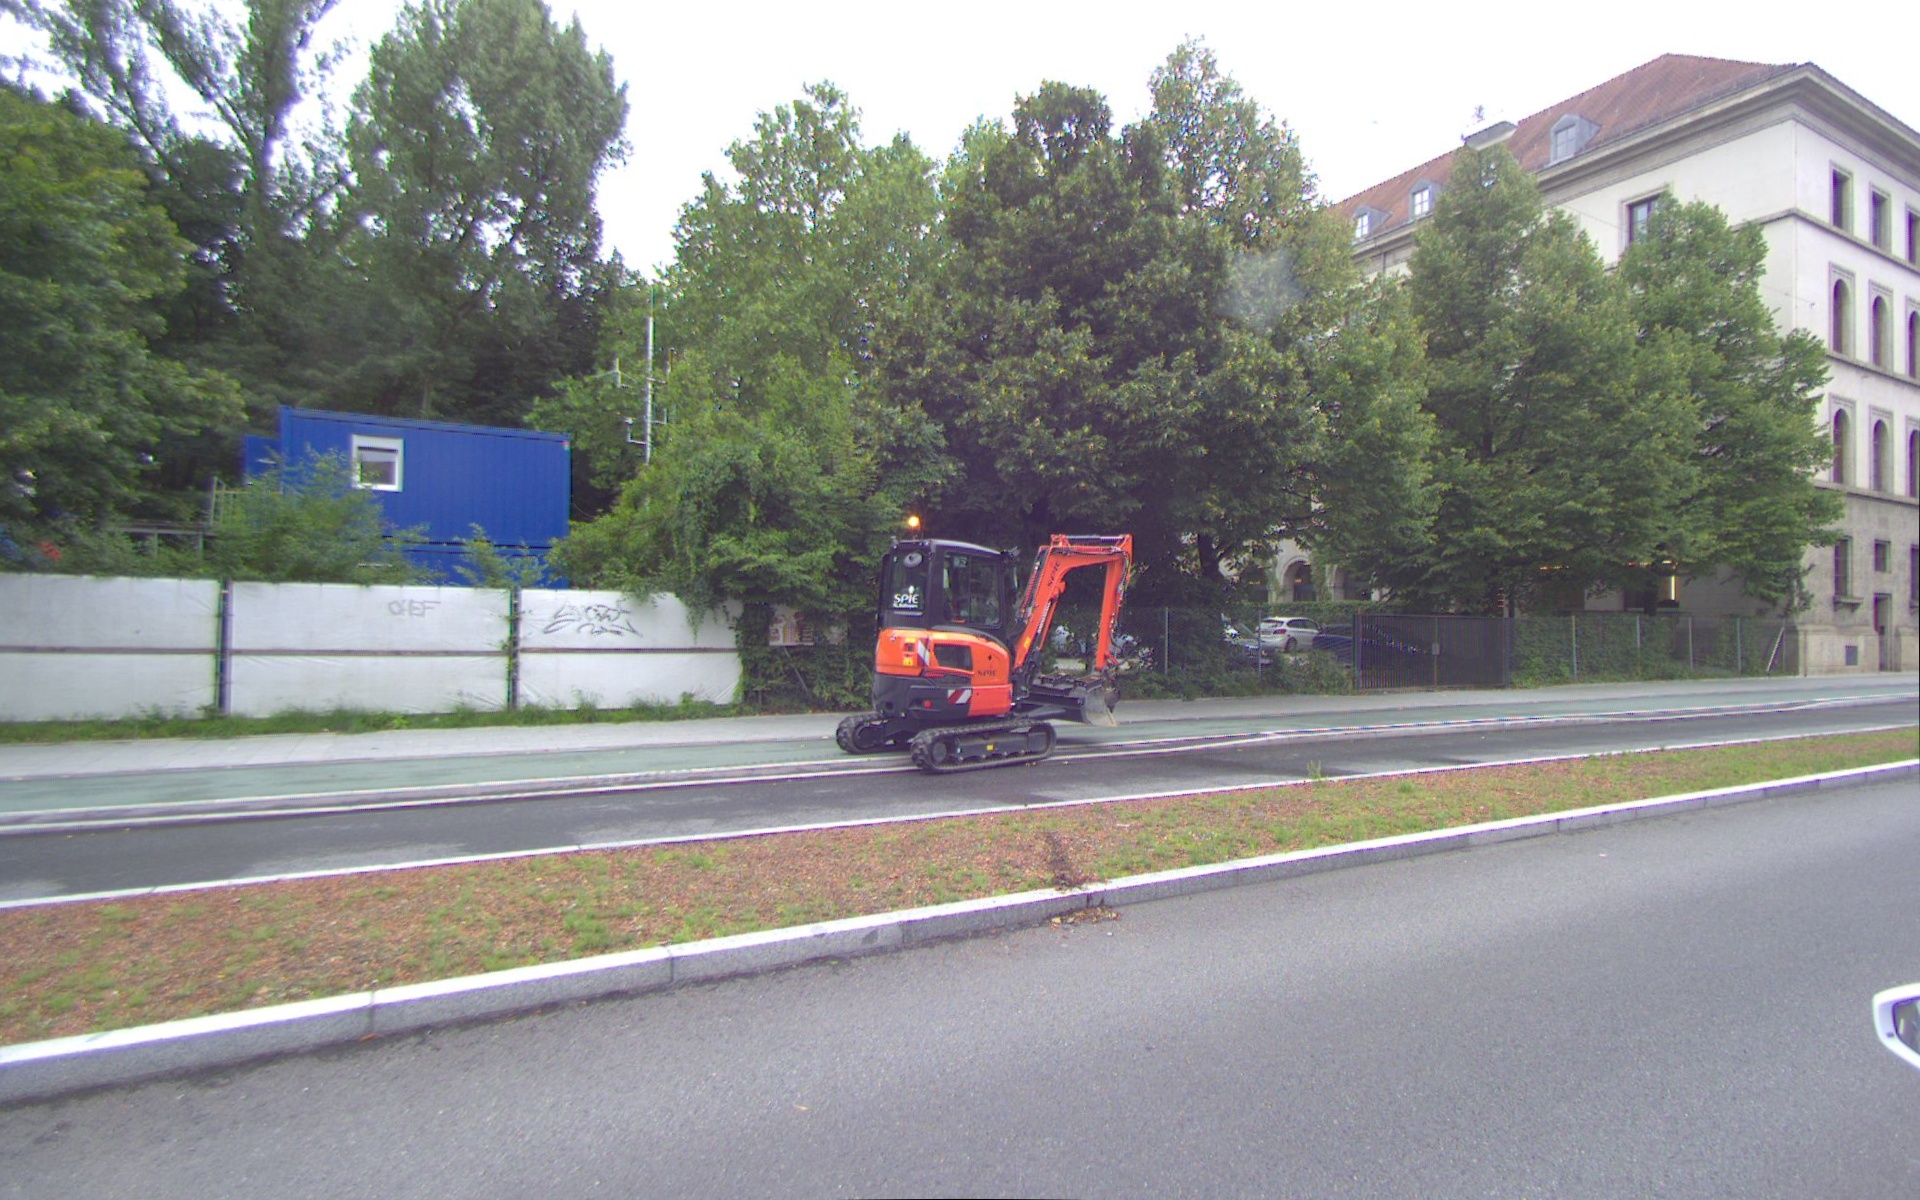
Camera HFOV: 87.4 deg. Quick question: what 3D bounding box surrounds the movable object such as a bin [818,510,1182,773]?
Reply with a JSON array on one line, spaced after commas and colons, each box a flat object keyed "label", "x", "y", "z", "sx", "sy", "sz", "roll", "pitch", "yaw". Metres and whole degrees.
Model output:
[{"label": "movable object such as a bin", "x": 0.674, "y": 0.485, "z": 12.595, "sx": 1.973, "sy": 2.676, "sz": 4.636, "roll": -1, "pitch": -2, "yaw": 45}]

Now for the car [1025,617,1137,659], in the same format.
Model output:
[{"label": "car", "x": 4.778, "y": 1.456, "z": 39.460, "sx": 4.130, "sy": 1.566, "sz": 1.821, "roll": 1, "pitch": 0, "yaw": -31}]

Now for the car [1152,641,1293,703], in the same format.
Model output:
[{"label": "car", "x": 7.691, "y": 2.065, "z": 29.781, "sx": 1.815, "sy": 1.566, "sz": 3.908, "roll": 1, "pitch": 0, "yaw": -31}]

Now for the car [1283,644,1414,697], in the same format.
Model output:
[{"label": "car", "x": 13.200, "y": 2.350, "z": 34.326, "sx": 1.815, "sy": 1.566, "sz": 3.908, "roll": 1, "pitch": 0, "yaw": -31}]

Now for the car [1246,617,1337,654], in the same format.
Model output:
[{"label": "car", "x": 14.948, "y": 1.562, "z": 45.269, "sx": 3.895, "sy": 1.566, "sz": 1.821, "roll": 1, "pitch": 0, "yaw": -31}]
